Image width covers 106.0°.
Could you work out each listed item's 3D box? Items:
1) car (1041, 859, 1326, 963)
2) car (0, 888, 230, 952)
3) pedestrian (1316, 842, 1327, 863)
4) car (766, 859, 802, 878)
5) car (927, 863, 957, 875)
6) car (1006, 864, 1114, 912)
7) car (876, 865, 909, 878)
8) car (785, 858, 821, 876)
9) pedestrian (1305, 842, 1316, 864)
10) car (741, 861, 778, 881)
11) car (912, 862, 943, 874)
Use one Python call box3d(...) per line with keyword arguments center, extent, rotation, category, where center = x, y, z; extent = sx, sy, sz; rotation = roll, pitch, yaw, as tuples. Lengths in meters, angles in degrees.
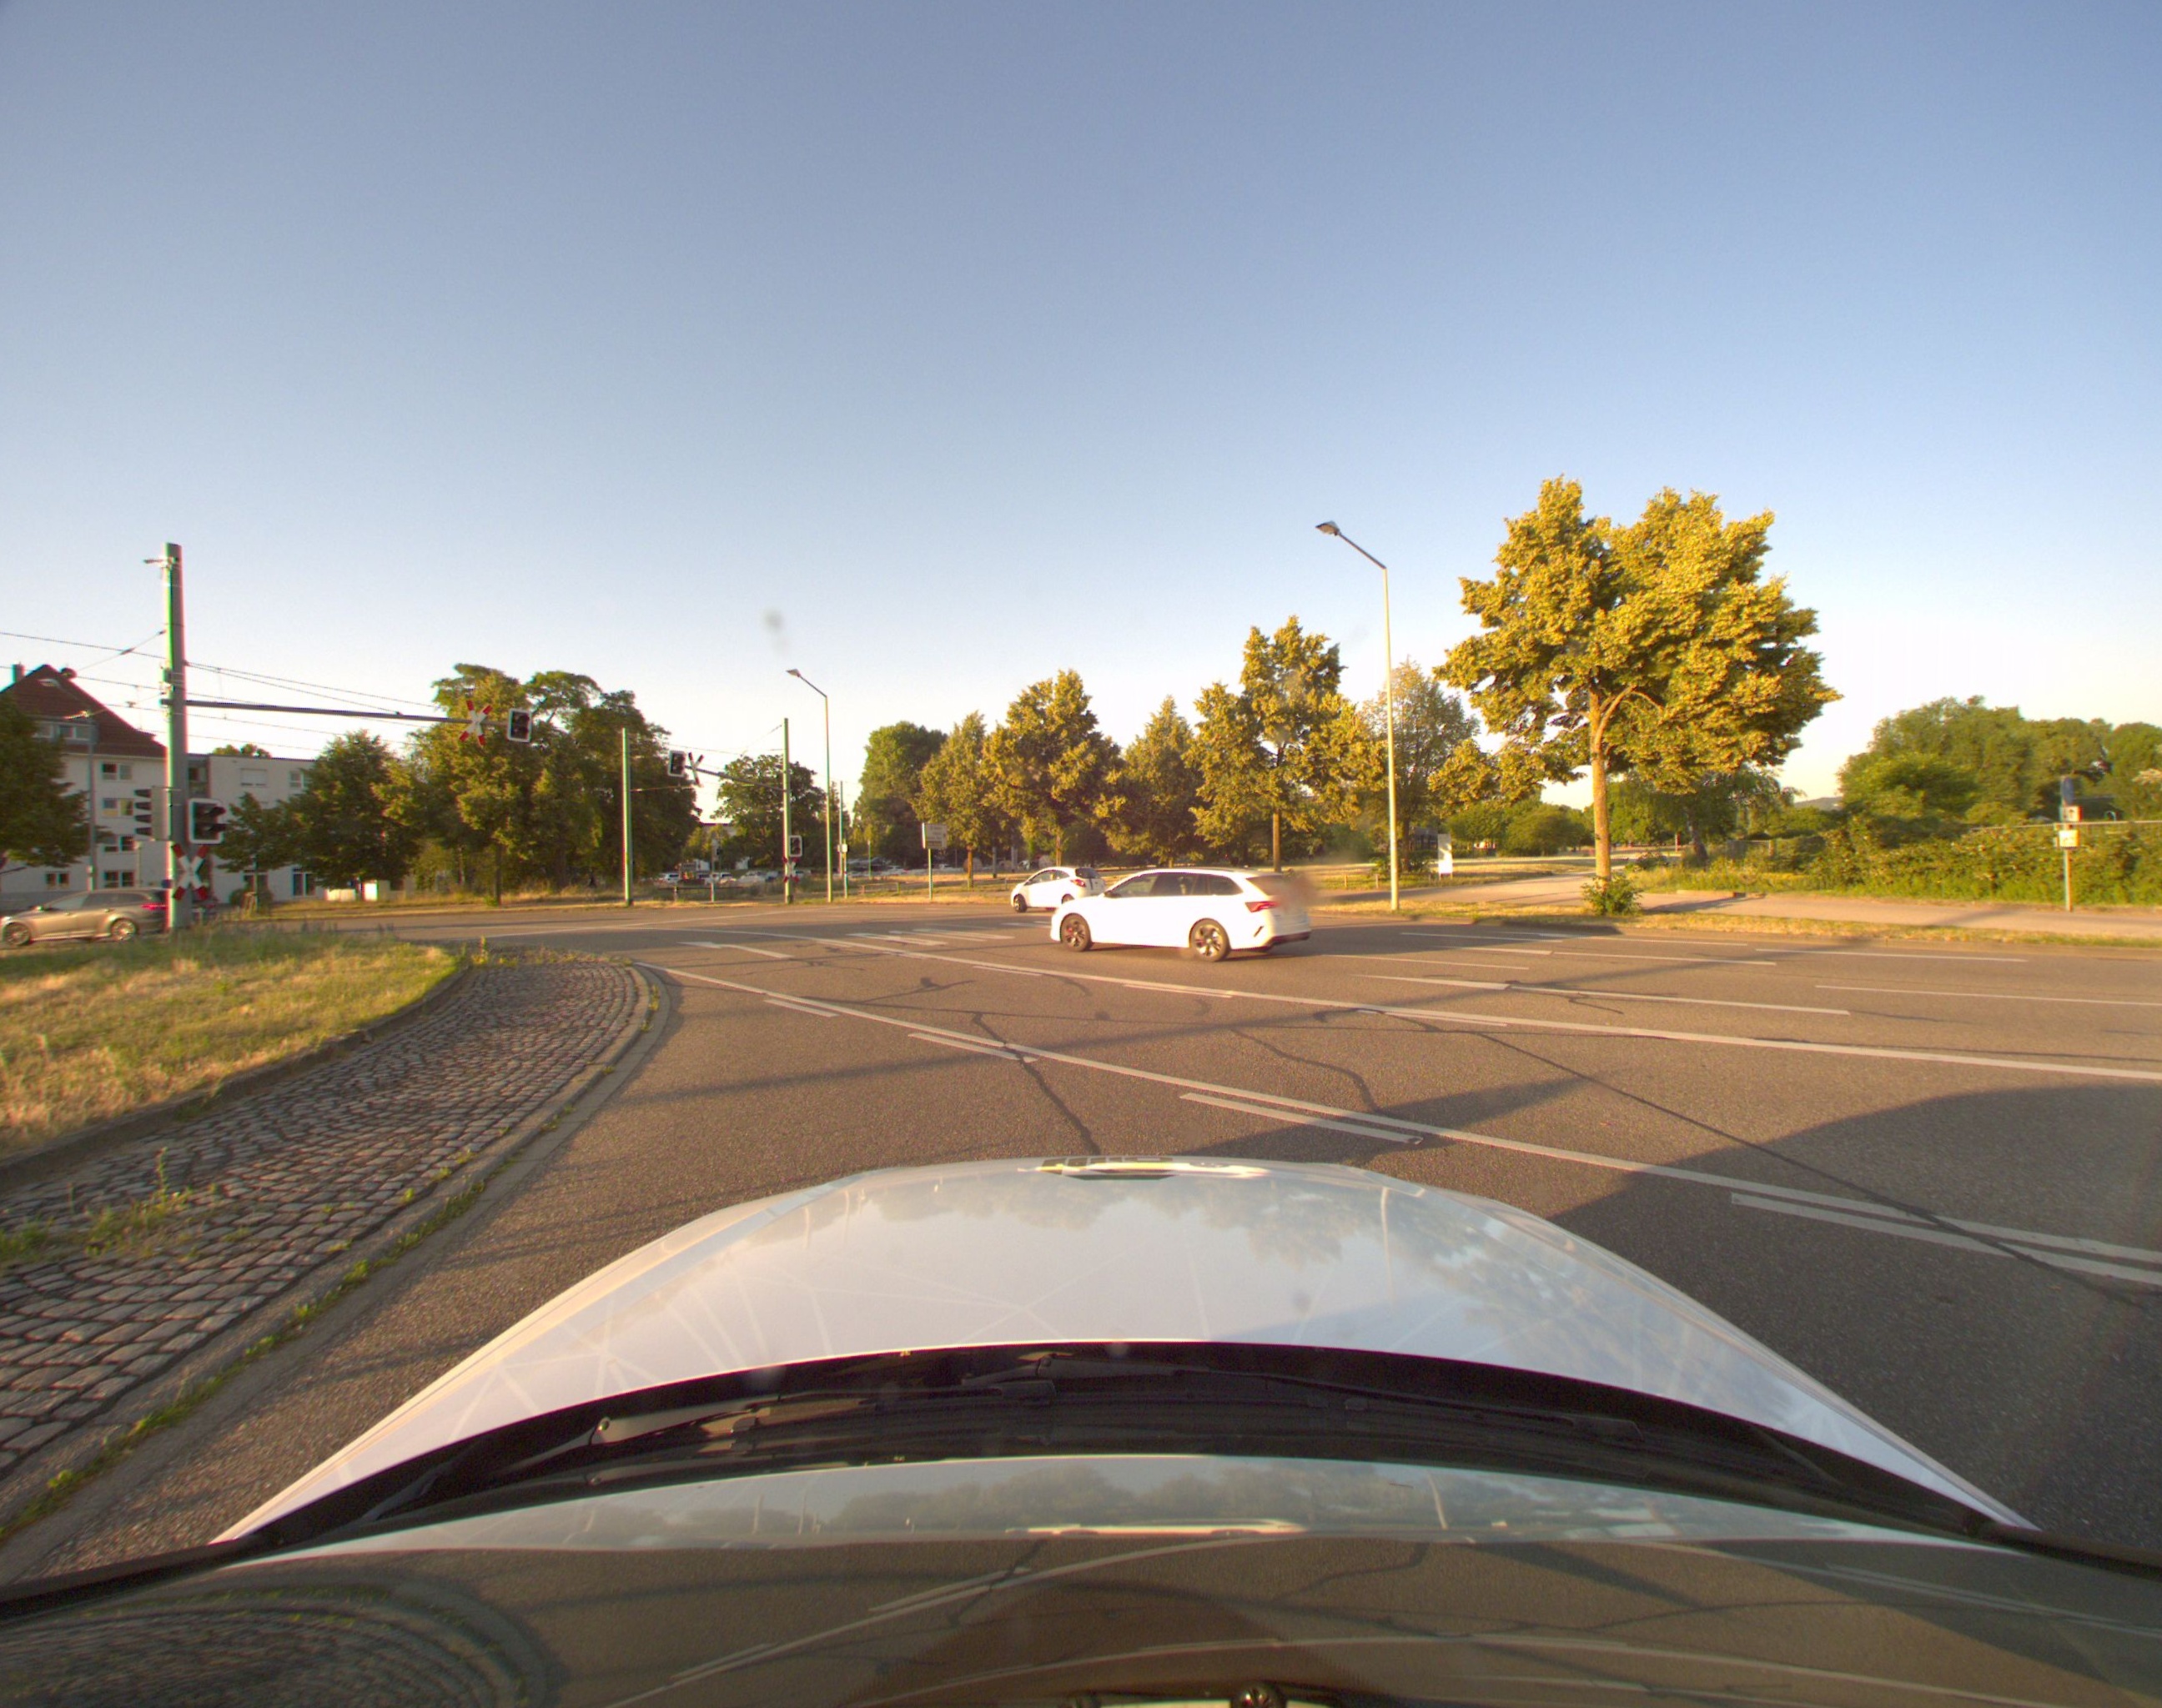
box3d(center=(1.613, 0.878, 13.791), extent=(4.490, 1.448, 1.739), rotation=(-2, 0, 38), category="car")
box3d(center=(-26.733, 1.792, 22.608), extent=(4.114, 1.466, 1.749), rotation=(-2, 0, -5), category="car")
box3d(center=(18.507, -0.100, 62.703), extent=(0.622, 1.626, 0.525), rotation=(-1, 0, -28), category="pedestrian")
box3d(center=(-34.687, 1.748, 95.068), extent=(3.948, 2.098, 2.013), rotation=(-2, 0, 34), category="car")
box3d(center=(-19.882, 2.124, 116.601), extent=(3.948, 1.551, 2.013), rotation=(-2, 0, 33), category="car")
box3d(center=(-0.723, 1.103, 26.790), extent=(3.443, 1.443, 1.563), rotation=(-2, -1, 44), category="car")
box3d(center=(-25.169, 2.356, 108.525), extent=(3.948, 1.551, 2.013), rotation=(-2, 0, 33), category="car")
box3d(center=(-33.311, 1.547, 97.439), extent=(3.948, 2.098, 2.013), rotation=(-2, 0, 34), category="car")
box3d(center=(17.725, -0.079, 62.964), extent=(0.582, 1.626, 0.528), rotation=(-1, 0, -30), category="pedestrian")
box3d(center=(-36.569, 1.937, 92.661), extent=(3.948, 2.098, 2.013), rotation=(-2, 0, 34), category="car")
box3d(center=(-21.610, 1.949, 114.785), extent=(3.948, 1.551, 2.013), rotation=(-2, 0, 33), category="car")
